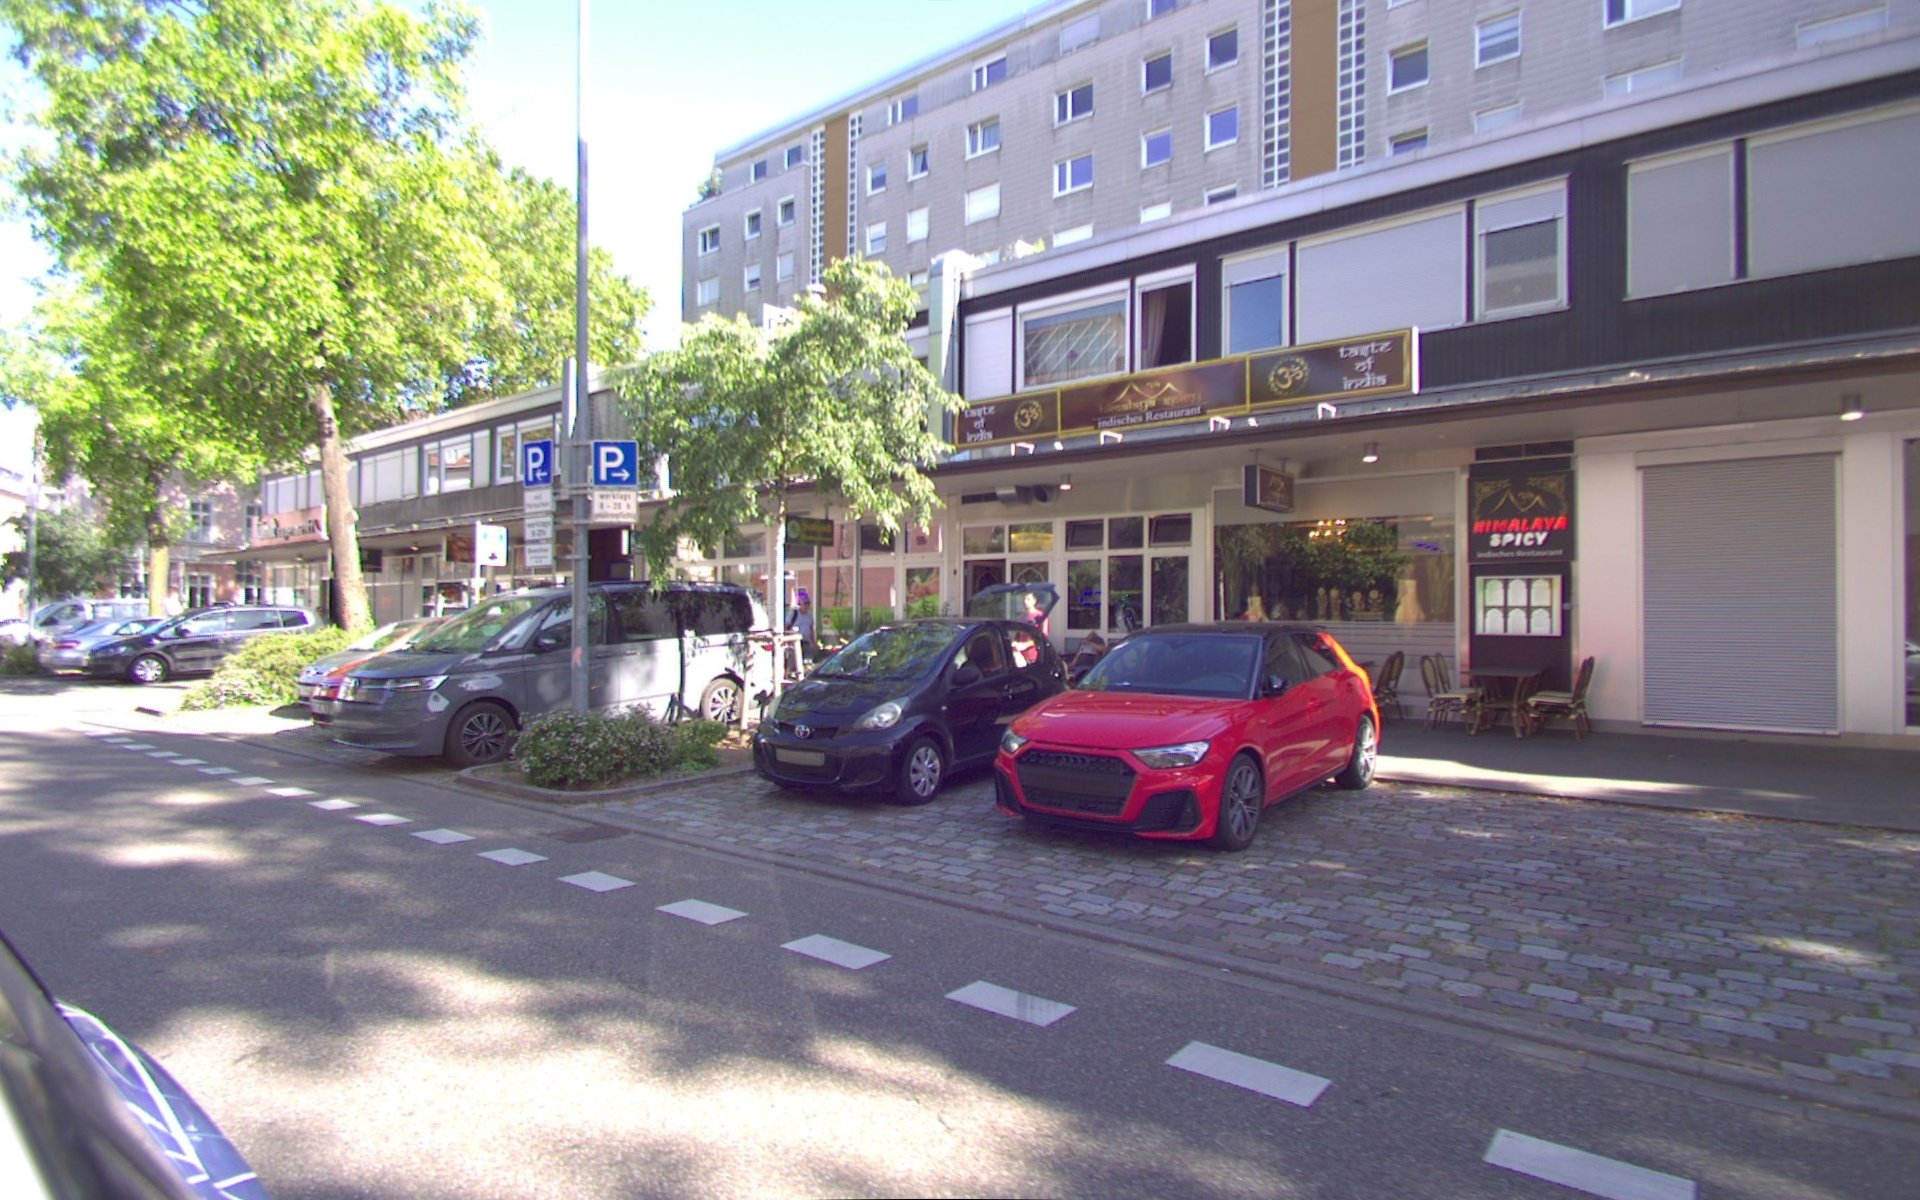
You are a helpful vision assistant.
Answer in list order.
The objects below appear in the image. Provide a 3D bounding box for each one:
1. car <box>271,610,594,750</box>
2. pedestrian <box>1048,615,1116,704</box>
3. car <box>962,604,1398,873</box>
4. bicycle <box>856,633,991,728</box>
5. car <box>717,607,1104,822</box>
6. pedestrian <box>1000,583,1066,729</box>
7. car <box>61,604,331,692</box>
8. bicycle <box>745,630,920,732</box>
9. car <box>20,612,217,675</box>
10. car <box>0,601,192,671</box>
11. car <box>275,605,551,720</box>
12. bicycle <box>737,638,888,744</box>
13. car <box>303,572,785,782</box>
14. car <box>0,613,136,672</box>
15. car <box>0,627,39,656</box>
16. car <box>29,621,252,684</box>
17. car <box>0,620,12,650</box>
[{"bbox_3d":[-7.000,0.956,13.730,1.657,1.566,3.529,-1,0,33],"label":"car"},{"bbox_3d":[1.773,0.841,14.713,0.745,1.255,0.643,-1,-1,39],"label":"pedestrian"},{"bbox_3d":[1.897,0.795,7.762,1.708,1.461,3.879,-1,0,39],"label":"car"},{"bbox_3d":[-0.412,0.947,12.396,0.614,1.047,1.844,-1,-1,38],"label":"bicycle"},{"bbox_3d":[-0.254,0.833,9.169,1.609,1.461,3.634,-1,0,35],"label":"car"},{"bbox_3d":[0.883,0.666,12.334,0.571,1.725,0.637,0,-1,-23],"label":"pedestrian"},{"bbox_3d":[-17.718,1.025,23.716,1.871,1.790,4.725,-1,0,36],"label":"car"},{"bbox_3d":[-1.586,0.981,12.951,0.801,1.176,2.211,-1,-2,44],"label":"bicycle"},{"bbox_3d":[-23.671,1.173,28.602,1.734,1.431,3.951,-1,2,36],"label":"car"},{"bbox_3d":[-27.241,1.052,31.567,1.906,1.984,4.937,-1,0,36],"label":"car"},{"bbox_3d":[-8.688,0.907,16.319,1.669,1.573,3.555,-1,0,36],"label":"car"},{"bbox_3d":[-1.611,0.968,11.334,0.613,1.047,1.847,-1,-1,33],"label":"bicycle"},{"bbox_3d":[-4.585,0.694,11.943,1.871,1.953,4.982,-1,0,38],"label":"car"},{"bbox_3d":[-29.495,1.346,32.850,1.755,1.805,3.949,-1,-1,37],"label":"car"},{"bbox_3d":[-56.737,2.481,60.463,1.482,1.674,4.013,1,-2,-27],"label":"car"},{"bbox_3d":[-20.008,1.221,24.856,1.756,1.409,3.951,-1,-1,36],"label":"car"},{"bbox_3d":[-54.312,1.962,56.017,1.645,1.650,4.061,0,-1,-28],"label":"car"}]
